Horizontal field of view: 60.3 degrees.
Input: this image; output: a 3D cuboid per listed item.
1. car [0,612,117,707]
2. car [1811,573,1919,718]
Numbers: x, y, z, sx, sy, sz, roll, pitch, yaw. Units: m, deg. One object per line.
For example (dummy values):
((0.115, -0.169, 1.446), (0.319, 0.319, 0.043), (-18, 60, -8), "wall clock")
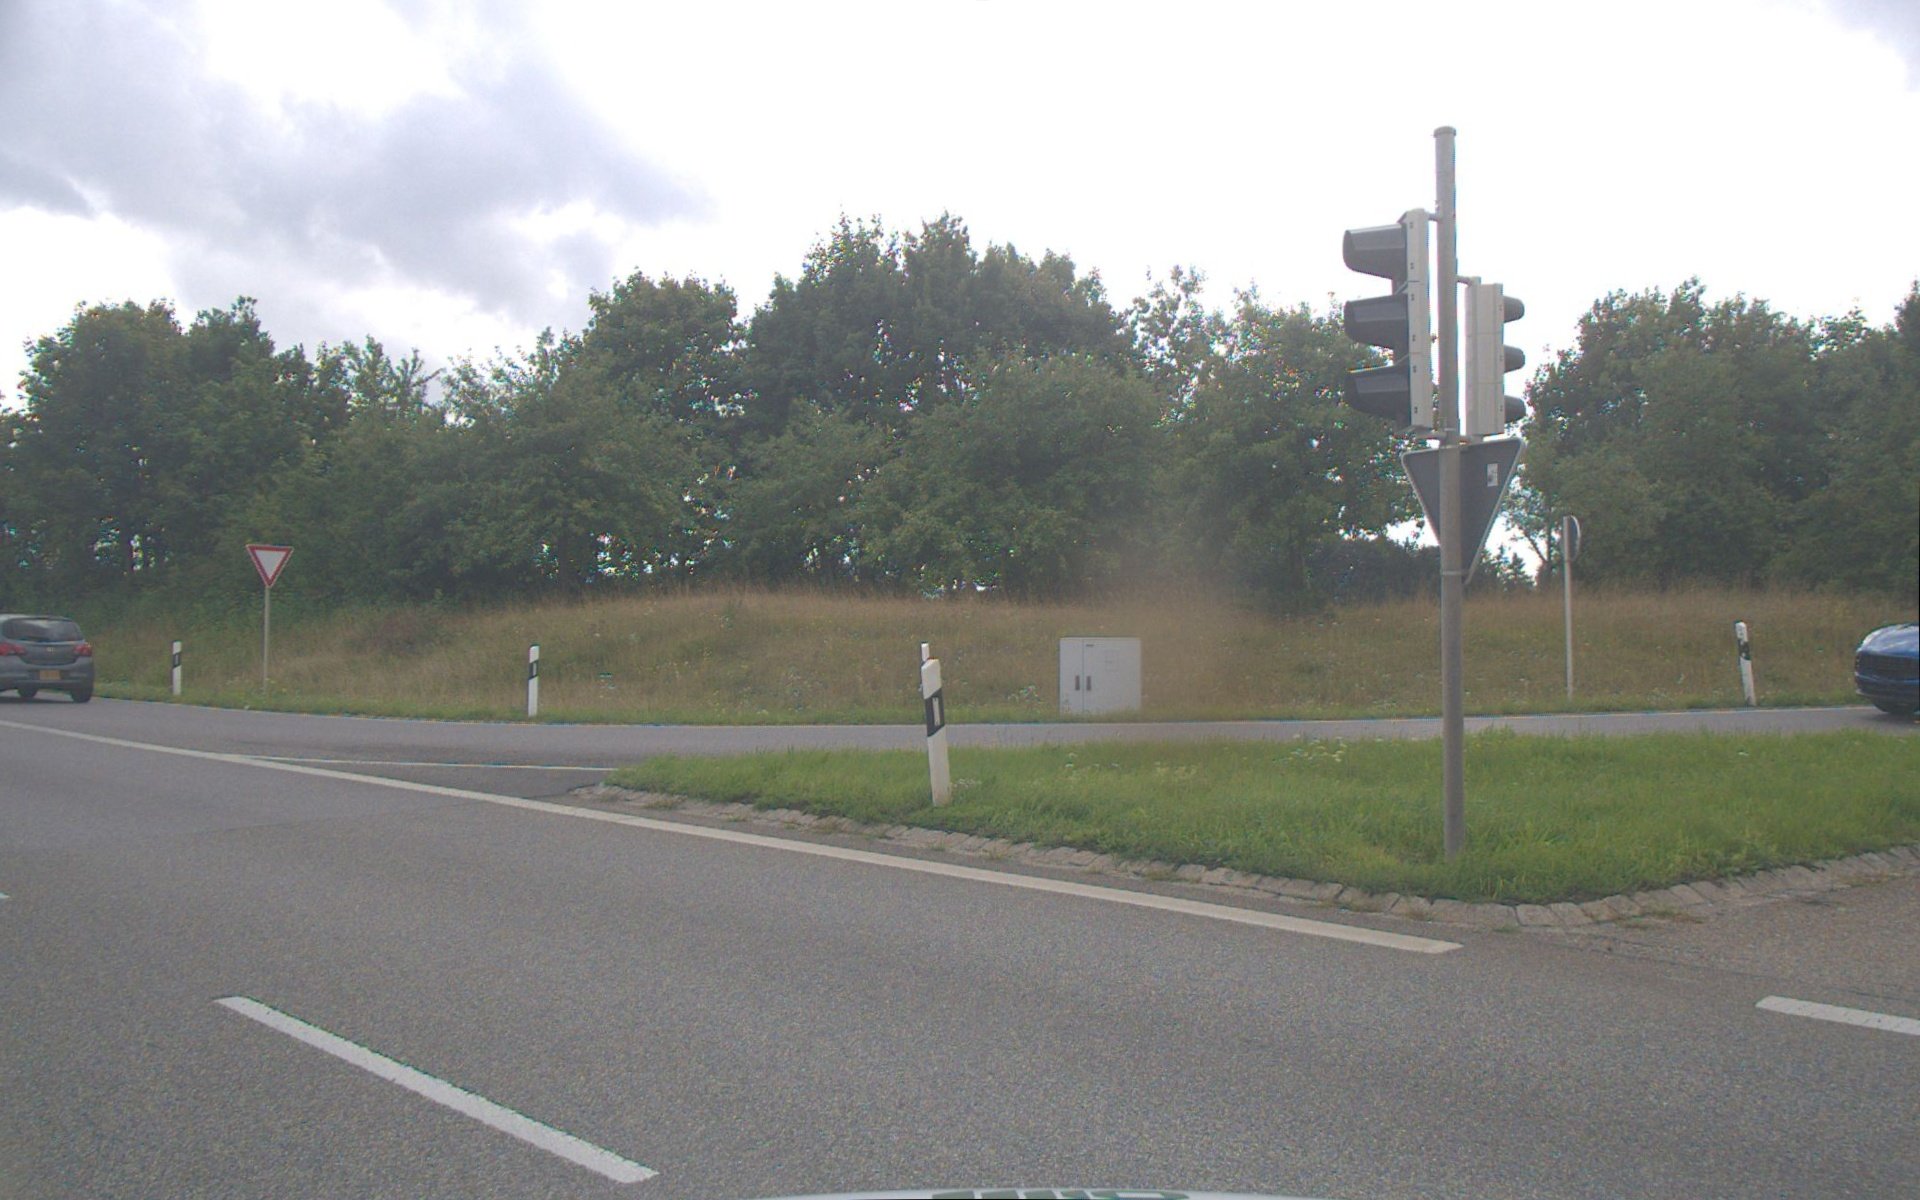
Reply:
((-16.637, 0.999, 28.954), (3.926, 1.562, 1.989), (0, -1, 40), "car")
((12.764, 0.500, 19.468), (4.654, 1.598, 1.995), (0, 0, -10), "car")
